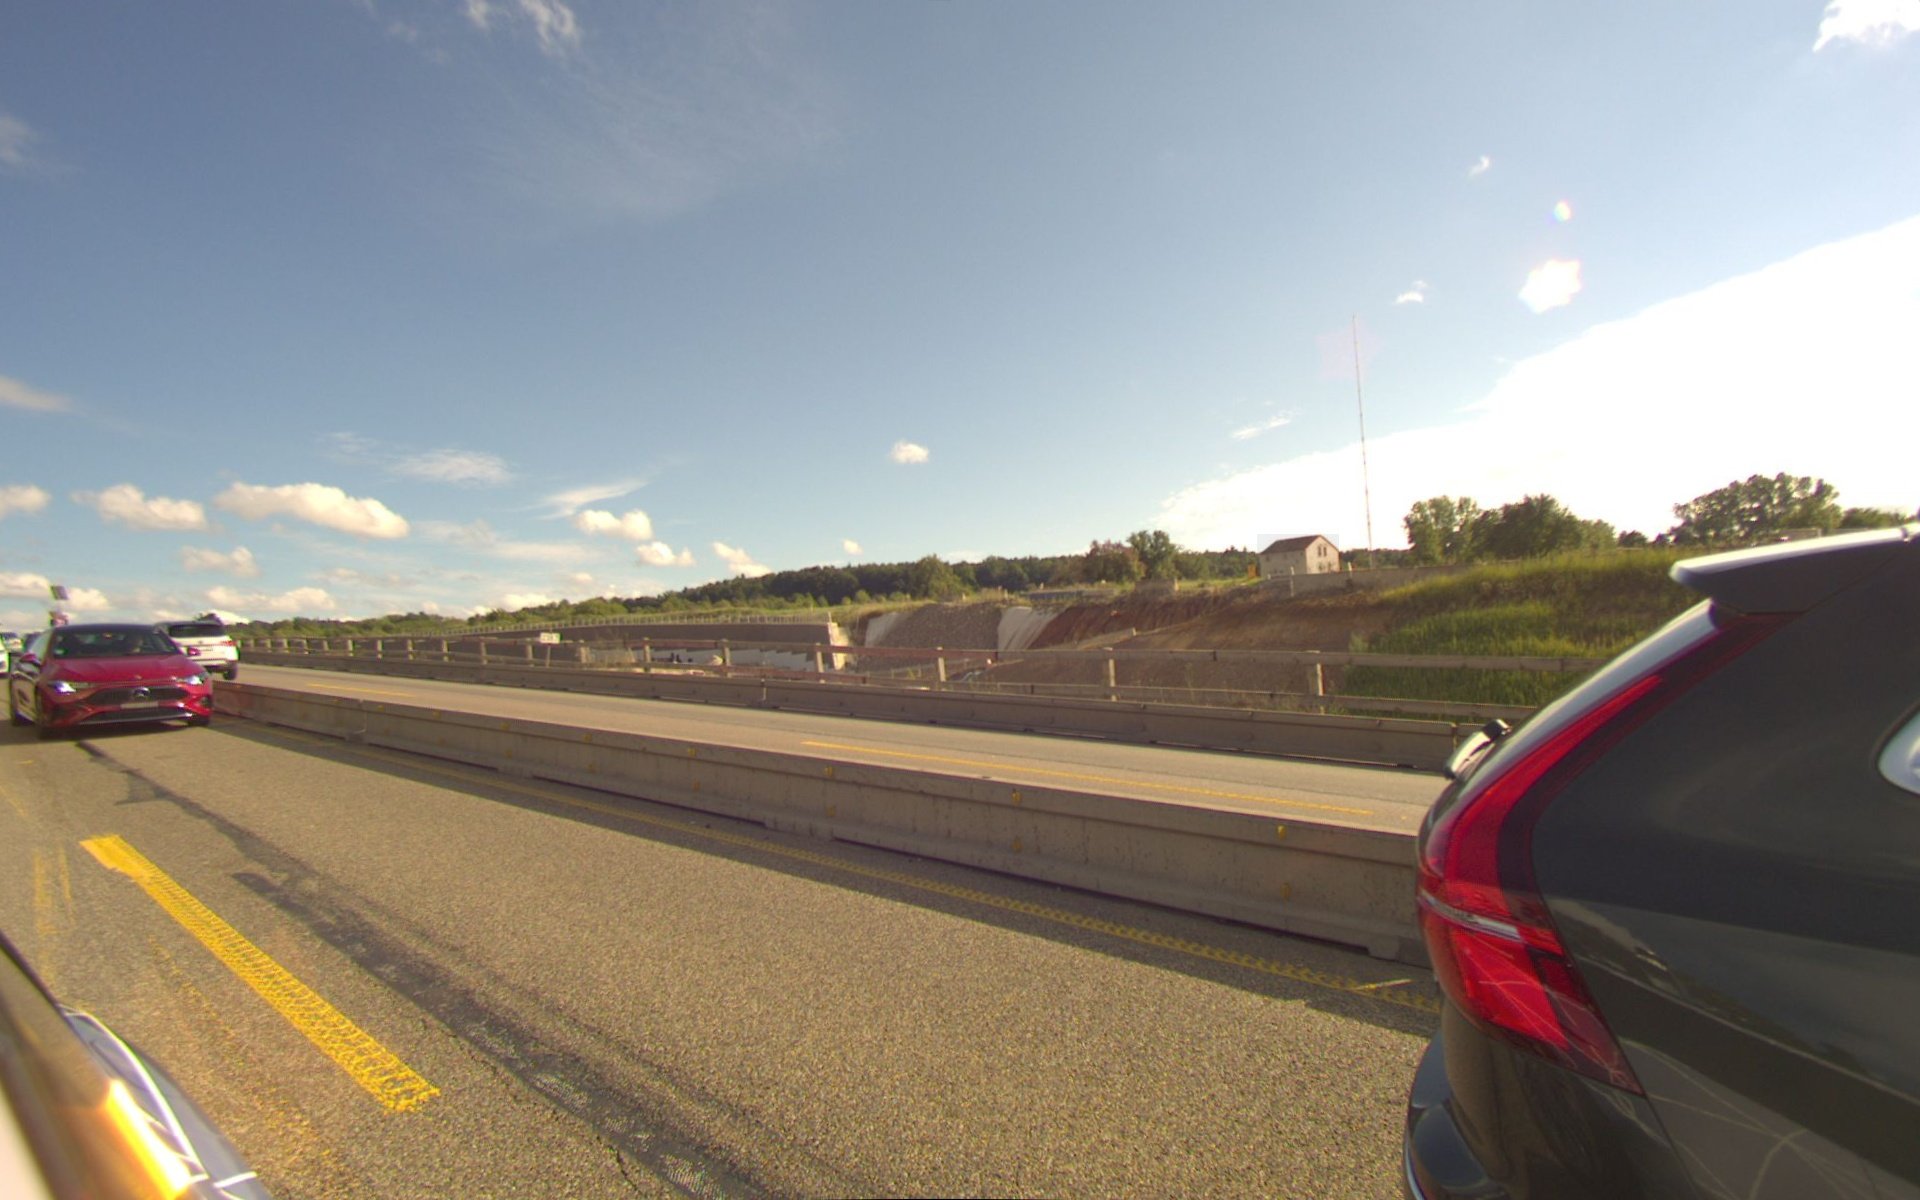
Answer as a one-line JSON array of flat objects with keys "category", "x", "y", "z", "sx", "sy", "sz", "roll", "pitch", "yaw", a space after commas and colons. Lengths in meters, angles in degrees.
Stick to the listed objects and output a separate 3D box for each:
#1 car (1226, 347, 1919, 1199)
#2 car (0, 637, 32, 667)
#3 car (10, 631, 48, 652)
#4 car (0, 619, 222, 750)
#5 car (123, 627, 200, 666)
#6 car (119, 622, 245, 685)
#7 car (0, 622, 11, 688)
[{"category": "car", "x": 2.798, "y": 0.555, "z": 0.574, "sx": 4.748, "sy": 1.637, "sz": 1.972, "roll": -1, "pitch": -1, "yaw": 42}, {"category": "car", "x": -50.386, "y": 2.708, "z": 53.293, "sx": 3.998, "sy": 1.503, "sz": 1.804, "roll": -2, "pitch": -2, "yaw": 41}, {"category": "car", "x": -68.855, "y": 3.038, "z": 74.858, "sx": 4.001, "sy": 1.503, "sz": 1.802, "roll": -2, "pitch": -3, "yaw": 44}, {"category": "car", "x": -12.216, "y": 1.078, "z": 14.401, "sx": 4.682, "sy": 1.503, "sz": 1.804, "roll": -2, "pitch": 0, "yaw": 42}, {"category": "car", "x": -32.567, "y": 1.871, "z": 41.230, "sx": 4.325, "sy": 1.503, "sz": 1.803, "roll": -2, "pitch": -3, "yaw": 43}, {"category": "car", "x": -20.178, "y": 1.352, "z": 26.195, "sx": 3.998, "sy": 1.503, "sz": 1.804, "roll": -2, "pitch": -2, "yaw": 41}, {"category": "car", "x": -28.898, "y": 1.589, "z": 29.200, "sx": 4.454, "sy": 1.837, "sz": 1.804, "roll": -2, "pitch": 0, "yaw": 42}]
